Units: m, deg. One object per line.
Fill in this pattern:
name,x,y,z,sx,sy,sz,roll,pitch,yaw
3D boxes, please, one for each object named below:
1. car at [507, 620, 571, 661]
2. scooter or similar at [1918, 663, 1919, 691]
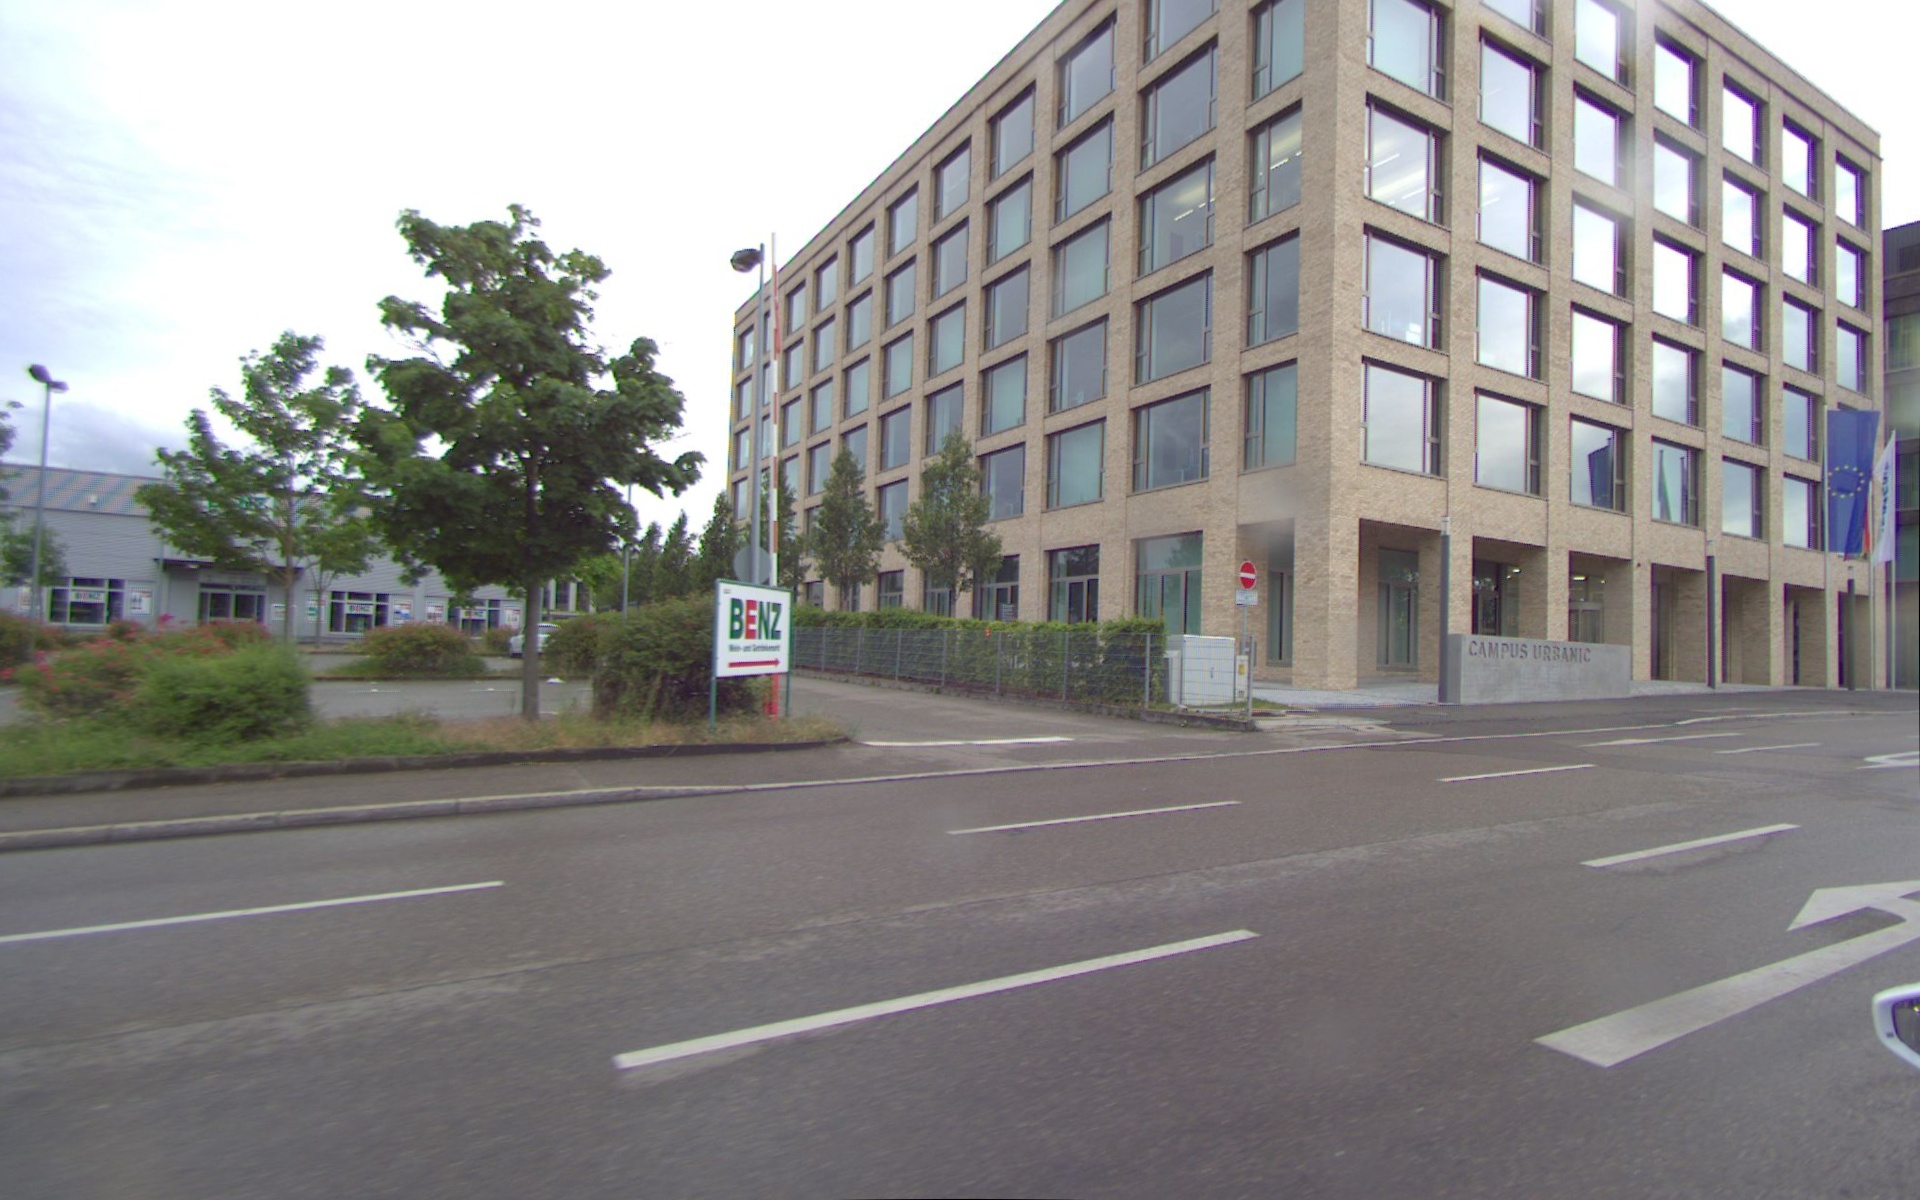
car,-18.132,1.720,43.175,1.977,1.617,3.967,1,-1,-31
scooter or similar,38.307,3.048,39.629,1.411,1.085,0.349,4,-2,-30
